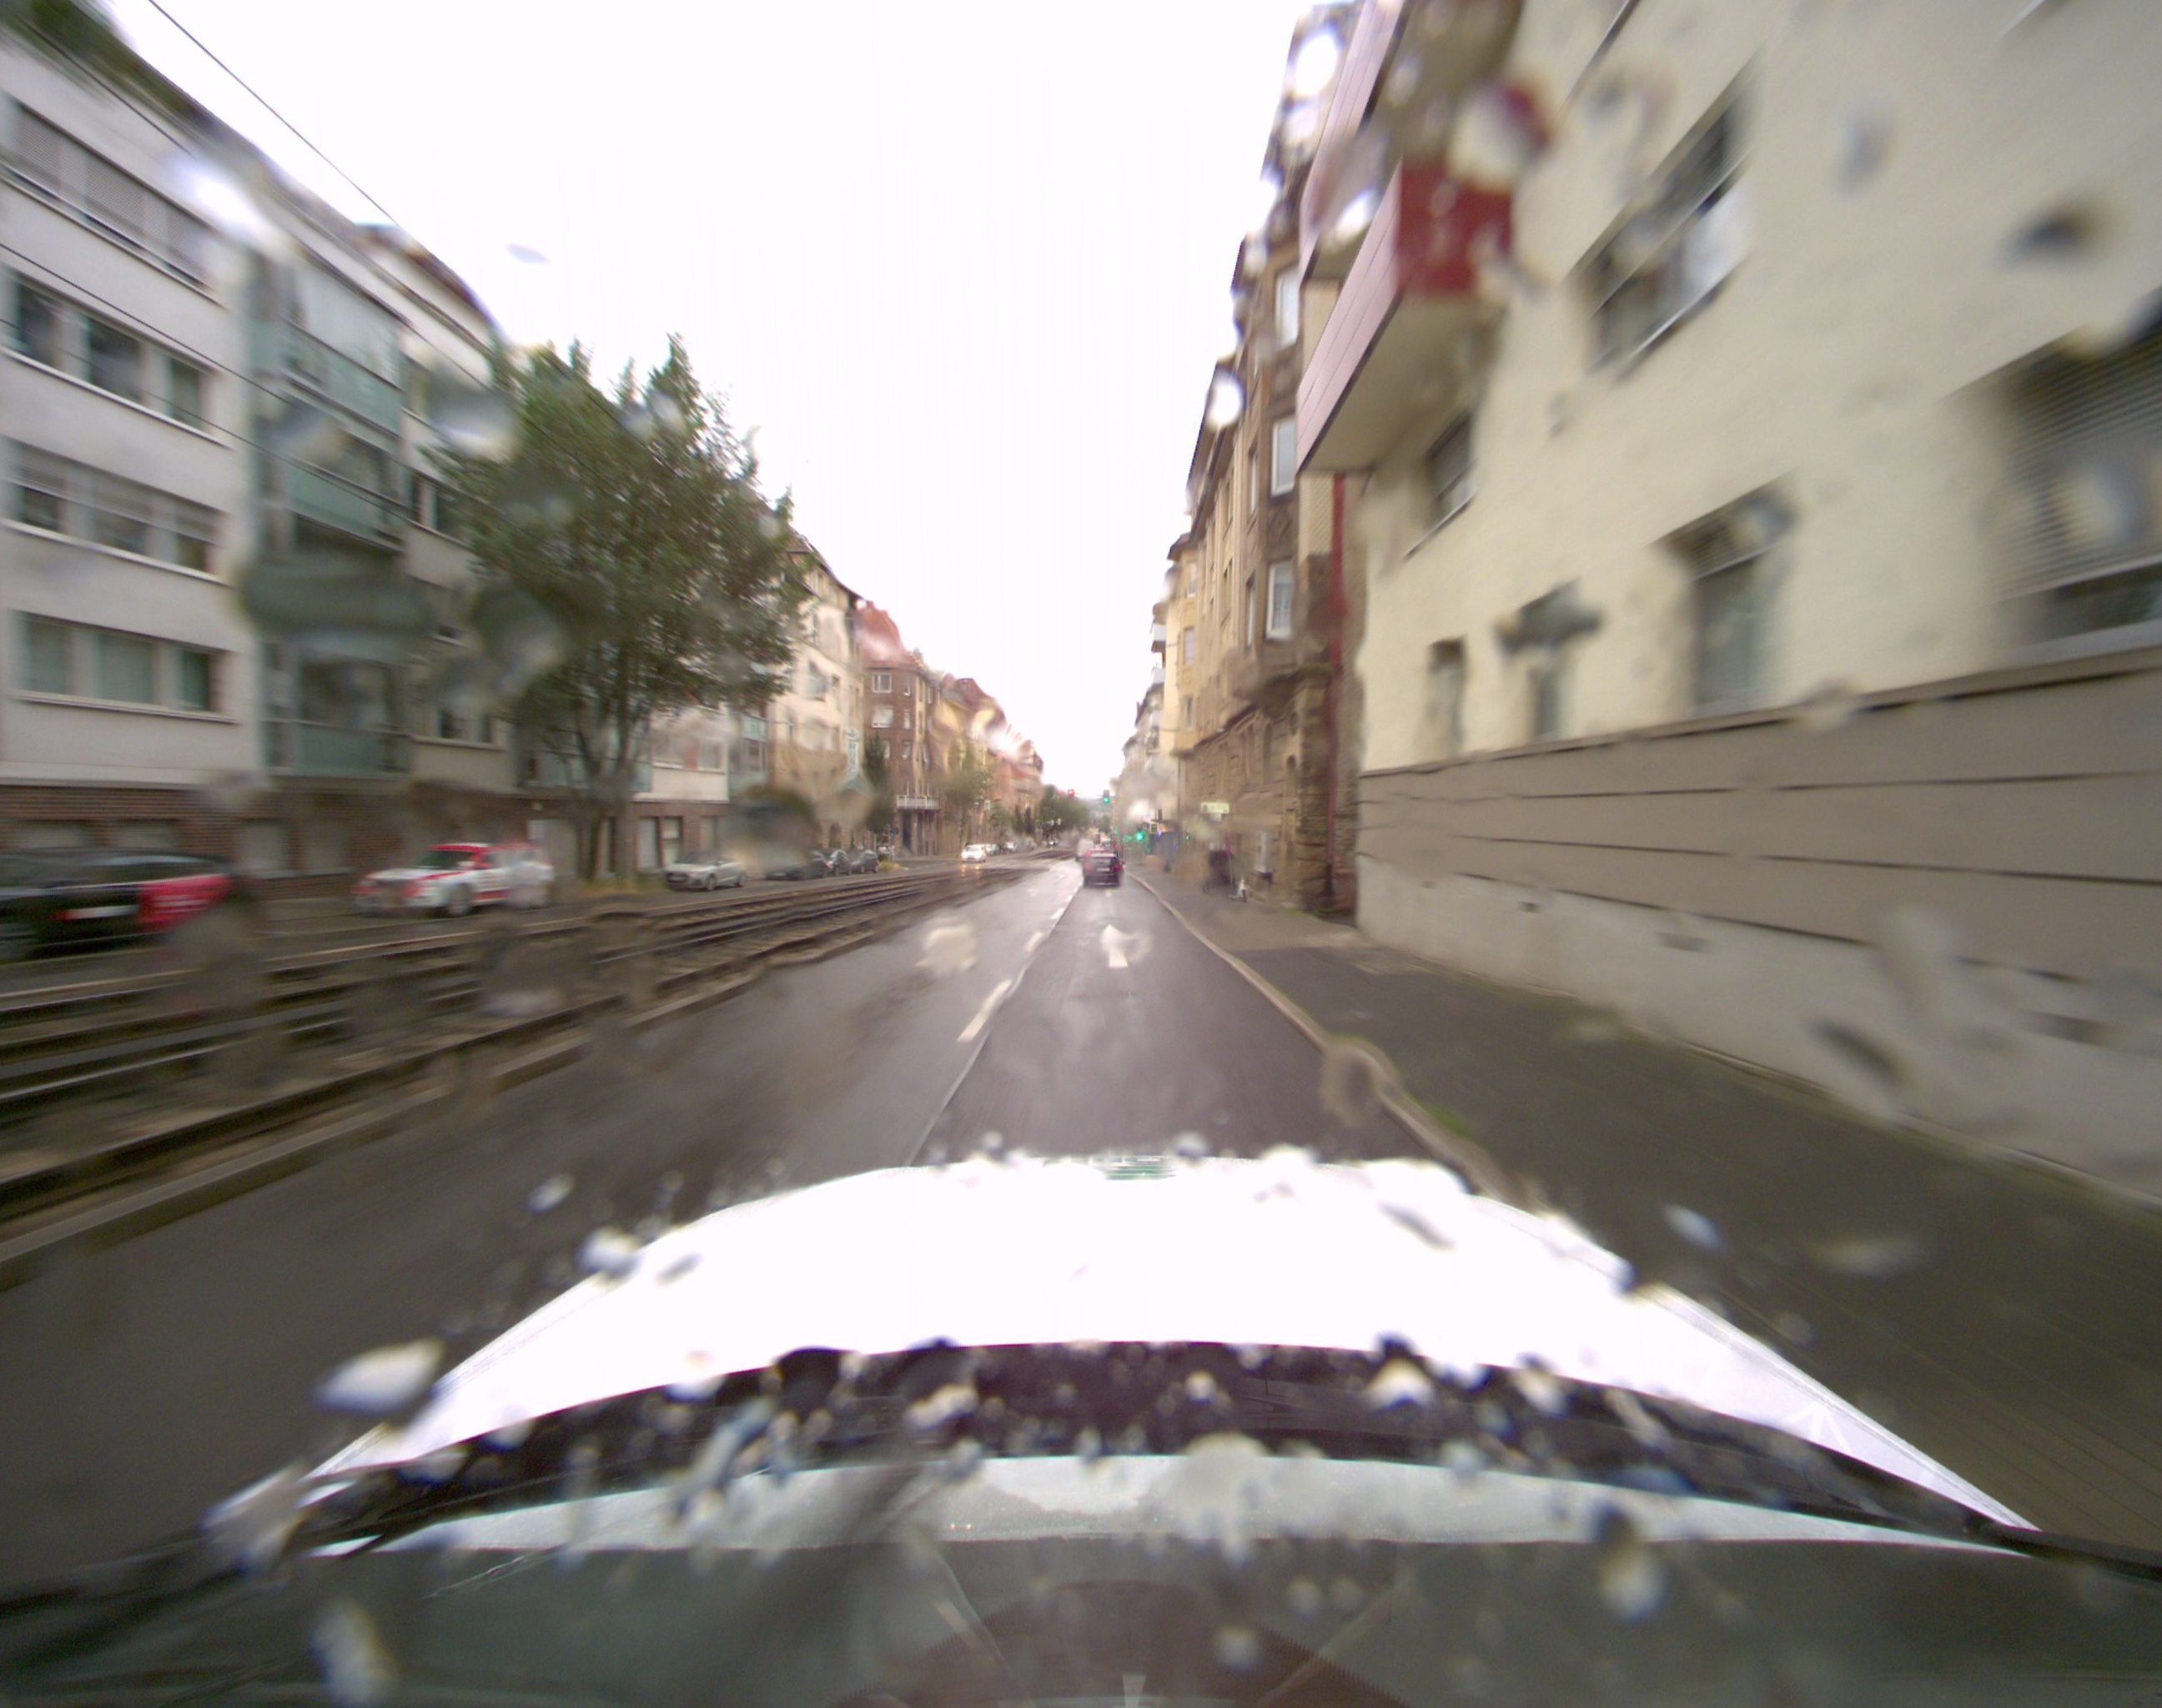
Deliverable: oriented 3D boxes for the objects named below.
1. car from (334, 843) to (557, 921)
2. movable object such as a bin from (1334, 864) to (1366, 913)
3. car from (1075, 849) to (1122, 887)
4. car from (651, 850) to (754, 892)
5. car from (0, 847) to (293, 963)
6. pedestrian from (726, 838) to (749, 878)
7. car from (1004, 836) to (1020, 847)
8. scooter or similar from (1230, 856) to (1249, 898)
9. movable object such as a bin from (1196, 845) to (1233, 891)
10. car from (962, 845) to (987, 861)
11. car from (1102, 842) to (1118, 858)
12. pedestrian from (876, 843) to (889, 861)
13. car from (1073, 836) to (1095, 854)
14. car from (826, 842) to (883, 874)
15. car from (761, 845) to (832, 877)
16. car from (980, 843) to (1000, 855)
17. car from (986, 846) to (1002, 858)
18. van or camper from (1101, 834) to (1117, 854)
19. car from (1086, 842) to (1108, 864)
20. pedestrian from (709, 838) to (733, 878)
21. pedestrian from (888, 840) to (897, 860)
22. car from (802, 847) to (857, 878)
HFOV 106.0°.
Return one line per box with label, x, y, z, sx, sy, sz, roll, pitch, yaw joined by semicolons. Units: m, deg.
car;-14.187;0.558;18.542;1.770;1.569;4.159;0;0;1
movable object such as a bin;5.691;0.727;17.241;0.499;1.014;0.476;0;0;-1
car;0.765;0.552;35.611;1.939;1.564;3.643;0;0;0
car;-13.811;0.570;29.993;1.696;1.335;4.132;3;0;2
car;-14.363;0.617;11.587;1.900;1.440;4.470;0;0;1
pedestrian;-15.528;0.176;36.855;0.671;1.772;0.783;1;0;2
car;-10.504;-1.943;124.363;1.776;1.589;4.357;-1;1;5
scooter or similar;4.331;0.618;22.293;0.209;1.112;0.889;-1;-1;-8
movable object such as a bin;4.393;0.457;26.863;1.005;1.451;1.394;-2;0;2
car;-9.519;-0.102;73.173;1.620;1.482;3.583;0;0;2
car;3.456;-0.531;97.277;1.762;1.808;4.484;1;1;2
pedestrian;-15.404;-0.169;63.191;0.751;1.421;0.646;0;0;3
car;0.265;-0.881;80.554;1.917;1.655;3.995;1;0;-3
car;-13.417;0.226;48.482;1.876;1.727;3.748;3;1;7
car;-13.517;0.300;38.983;1.795;1.455;4.431;0;0;1
car;-11.173;-0.670;100.050;1.660;1.425;4.266;1;1;3
car;-11.189;-0.263;104.836;1.556;1.438;4.146;-1;1;0
van or camper;3.617;-1.291;105.764;2.056;2.469;6.122;0;0;2
car;1.192;-0.105;60.035;1.530;1.510;4.003;1;2;2
pedestrian;-16.283;0.179;36.840;0.671;1.772;0.783;1;0;2
pedestrian;-14.670;-0.313;63.287;0.514;1.570;0.644;0;0;5
car;-13.460;0.425;43.774;1.801;1.498;3.526;2;1;0
